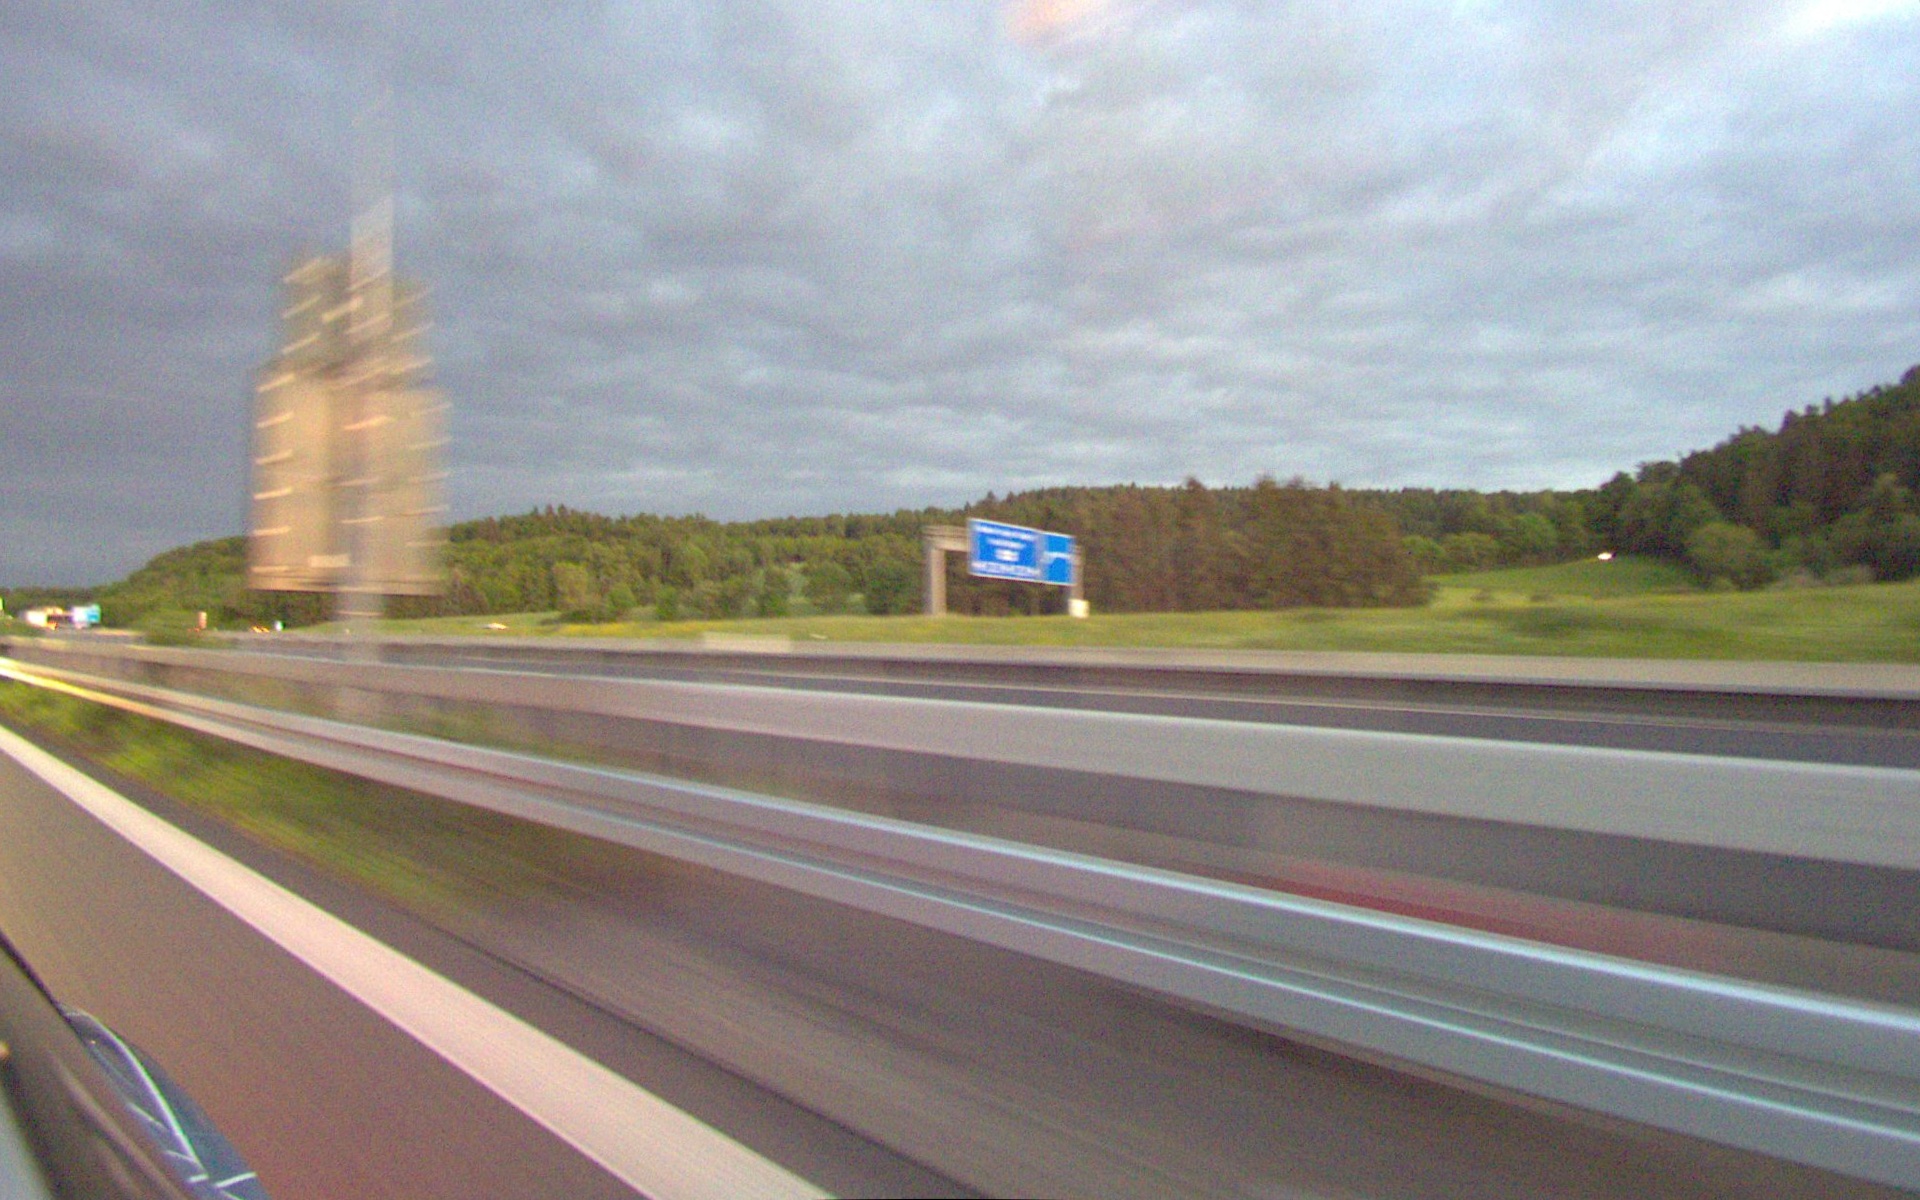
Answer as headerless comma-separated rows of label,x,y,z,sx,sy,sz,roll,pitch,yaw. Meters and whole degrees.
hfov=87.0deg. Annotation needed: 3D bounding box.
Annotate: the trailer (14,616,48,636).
trailer,-180.996,5.094,197.138,13.878,3.794,3.292,-1,-3,41
